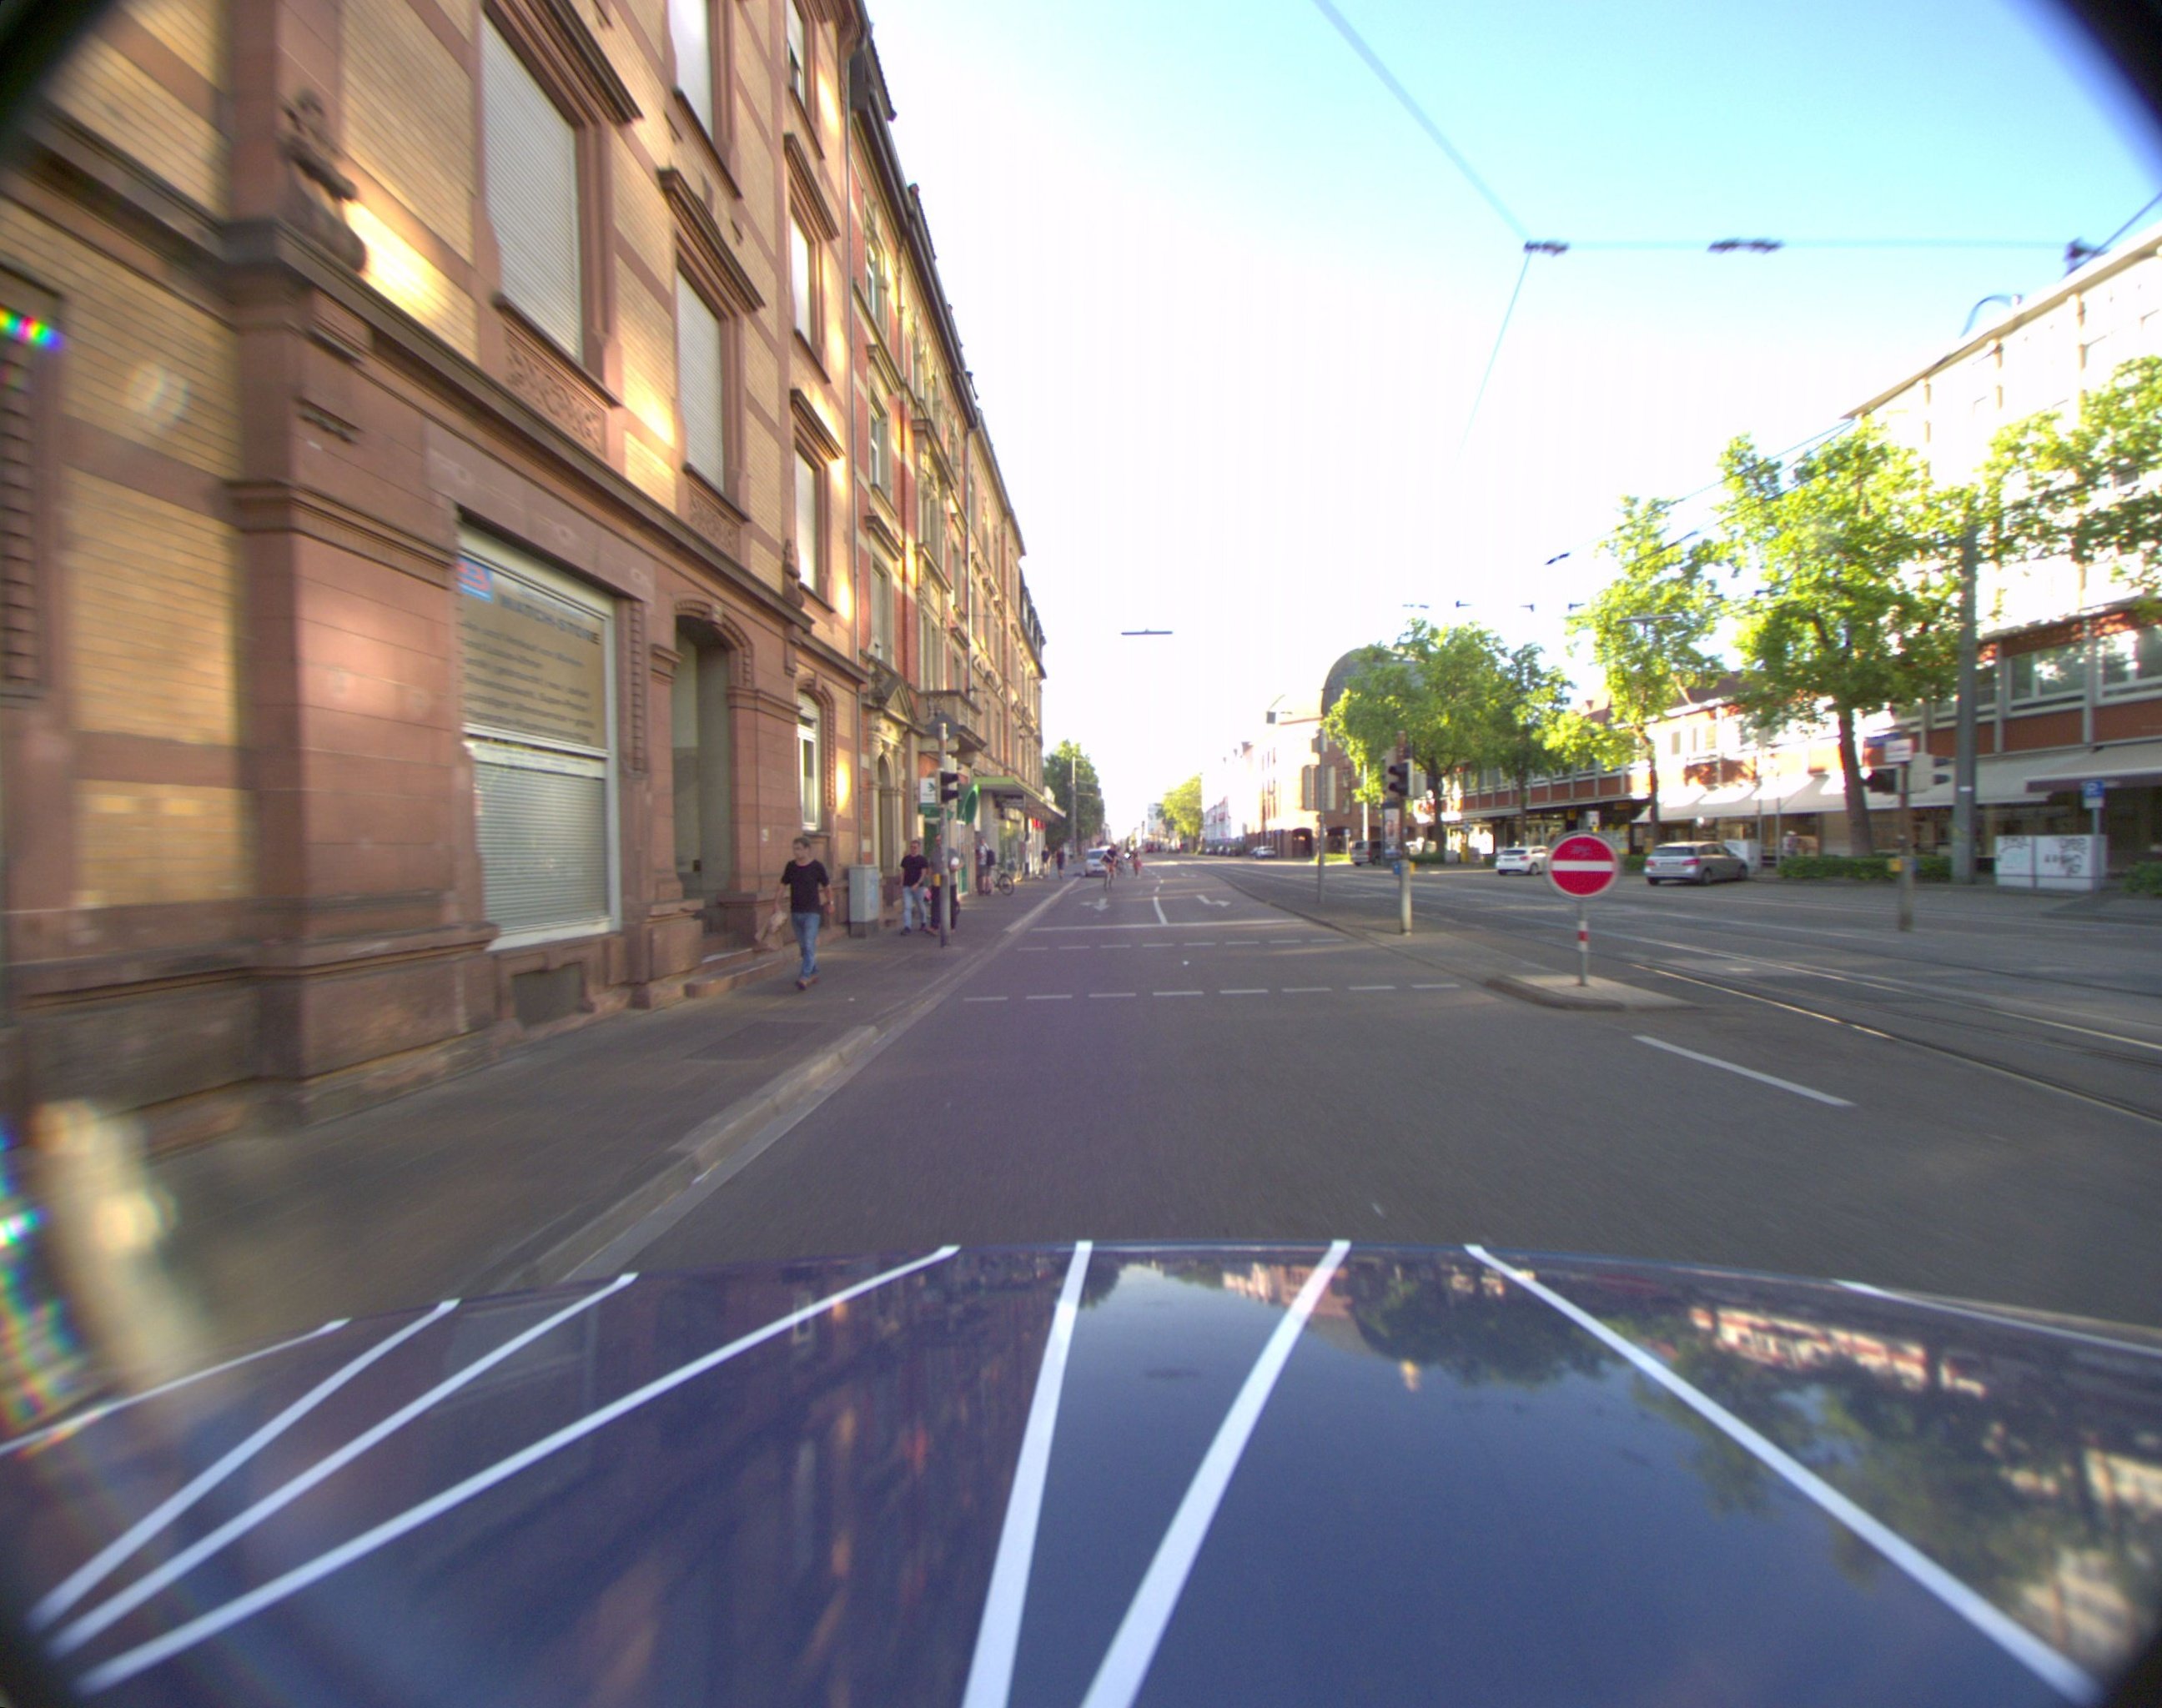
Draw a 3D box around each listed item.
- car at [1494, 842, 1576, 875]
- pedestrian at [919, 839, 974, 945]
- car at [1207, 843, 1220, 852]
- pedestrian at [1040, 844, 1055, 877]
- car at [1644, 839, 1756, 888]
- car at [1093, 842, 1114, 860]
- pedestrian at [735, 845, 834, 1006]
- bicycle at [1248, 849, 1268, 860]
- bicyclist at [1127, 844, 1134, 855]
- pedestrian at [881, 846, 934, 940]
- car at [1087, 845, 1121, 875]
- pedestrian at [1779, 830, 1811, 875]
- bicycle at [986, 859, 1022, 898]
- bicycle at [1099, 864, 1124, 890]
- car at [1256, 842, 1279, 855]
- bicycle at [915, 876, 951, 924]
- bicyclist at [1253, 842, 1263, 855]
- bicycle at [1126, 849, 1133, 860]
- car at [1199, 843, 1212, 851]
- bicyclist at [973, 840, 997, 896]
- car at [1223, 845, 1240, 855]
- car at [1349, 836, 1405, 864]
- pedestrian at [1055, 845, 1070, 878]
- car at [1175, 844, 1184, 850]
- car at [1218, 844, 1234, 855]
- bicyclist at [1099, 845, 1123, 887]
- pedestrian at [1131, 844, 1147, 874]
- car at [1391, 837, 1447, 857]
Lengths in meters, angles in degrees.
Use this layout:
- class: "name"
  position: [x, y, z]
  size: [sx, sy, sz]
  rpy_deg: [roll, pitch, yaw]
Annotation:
- class: "car"
  position: [23.062, 0.225, 38.590]
  size: [4.005, 1.466, 1.794]
  rpy_deg: [-3, 1, -28]
- class: "pedestrian"
  position: [-2.438, 0.673, 13.871]
  size: [0.823, 1.883, 0.754]
  rpy_deg: [1, 1, 3]
- class: "car"
  position: [25.779, -1.225, 147.884]
  size: [1.964, 1.594, 3.999]
  rpy_deg: [-2, 1, 1]
- class: "pedestrian"
  position: [-1.790, 0.339, 40.699]
  size: [0.700, 1.713, 0.681]
  rpy_deg: [1, 1, 4]
- class: "car"
  position: [22.698, 0.317, 27.836]
  size: [4.005, 1.545, 1.794]
  rpy_deg: [-3, 1, -28]
- class: "car"
  position: [2.123, -0.300, 71.241]
  size: [1.670, 1.674, 4.001]
  rpy_deg: [-1, 1, 5]
- class: "pedestrian"
  position: [-3.280, 0.756, 8.473]
  size: [0.777, 1.713, 0.754]
  rpy_deg: [1, 1, 3]
- class: "bicycle"
  position: [19.188, 0.058, 82.465]
  size: [0.674, 1.085, 2.033]
  rpy_deg: [-2, 1, -43]
- class: "bicyclist"
  position: [5.362, -0.442, 82.539]
  size: [0.646, 1.176, 0.723]
  rpy_deg: [-1, 1, 0]
- class: "pedestrian"
  position: [-3.247, 0.708, 14.250]
  size: [0.777, 1.713, 0.754]
  rpy_deg: [1, 1, 3]
- class: "car"
  position: [1.416, 0.329, 45.116]
  size: [1.670, 1.674, 4.001]
  rpy_deg: [-1, 1, 6]
- class: "pedestrian"
  position: [28.342, -0.062, 30.184]
  size: [0.635, 1.759, 0.769]
  rpy_deg: [0, 2, 19]
- class: "bicycle"
  position: [-2.633, 0.796, 25.911]
  size: [0.669, 1.246, 1.891]
  rpy_deg: [-1, 1, -23]
- class: "bicycle"
  position: [1.230, 0.898, 30.431]
  size: [0.885, 0.949, 1.766]
  rpy_deg: [-1, 1, 6]
- class: "car"
  position: [23.405, -0.701, 95.373]
  size: [1.910, 1.594, 3.999]
  rpy_deg: [-2, 1, 1]
- class: "bicycle"
  position: [-3.321, 1.015, 17.105]
  size: [0.345, 0.990, 1.241]
  rpy_deg: [1, 1, 12]
- class: "bicyclist"
  position: [19.225, -0.639, 82.401]
  size: [0.674, 1.414, 0.761]
  rpy_deg: [-2, 2, -43]
- class: "bicycle"
  position: [5.308, 0.066, 82.482]
  size: [0.646, 1.176, 1.804]
  rpy_deg: [-1, 1, 0]
- class: "car"
  position: [26.846, -1.601, 163.921]
  size: [1.964, 1.594, 3.999]
  rpy_deg: [-2, 1, 1]
- class: "bicyclist"
  position: [-3.247, 0.456, 25.623]
  size: [0.600, 1.871, 0.742]
  rpy_deg: [-1, 1, -23]
- class: "car"
  position: [24.283, -0.641, 122.548]
  size: [1.964, 1.594, 3.999]
  rpy_deg: [-2, 1, 1]
- class: "car"
  position: [22.361, -0.319, 57.362]
  size: [4.006, 1.953, 1.907]
  rpy_deg: [-3, 1, -32]
- class: "pedestrian"
  position: [-0.979, 0.377, 40.298]
  size: [0.700, 1.713, 0.502]
  rpy_deg: [1, 1, 4]
- class: "car"
  position: [27.337, -2.011, 210.469]
  size: [1.964, 1.594, 3.999]
  rpy_deg: [-2, 1, 1]
- class: "car"
  position: [24.501, -0.780, 128.652]
  size: [1.964, 1.594, 3.999]
  rpy_deg: [-2, 1, 1]
- class: "bicyclist"
  position: [1.224, 0.474, 30.431]
  size: [0.885, 1.651, 0.803]
  rpy_deg: [-1, 1, 6]
- class: "pedestrian"
  position: [3.233, 0.270, 42.419]
  size: [0.849, 1.652, 0.850]
  rpy_deg: [-1, 1, 6]
- class: "car"
  position: [35.465, -0.783, 79.784]
  size: [4.982, 2.002, 2.000]
  rpy_deg: [-1, 1, 1]
